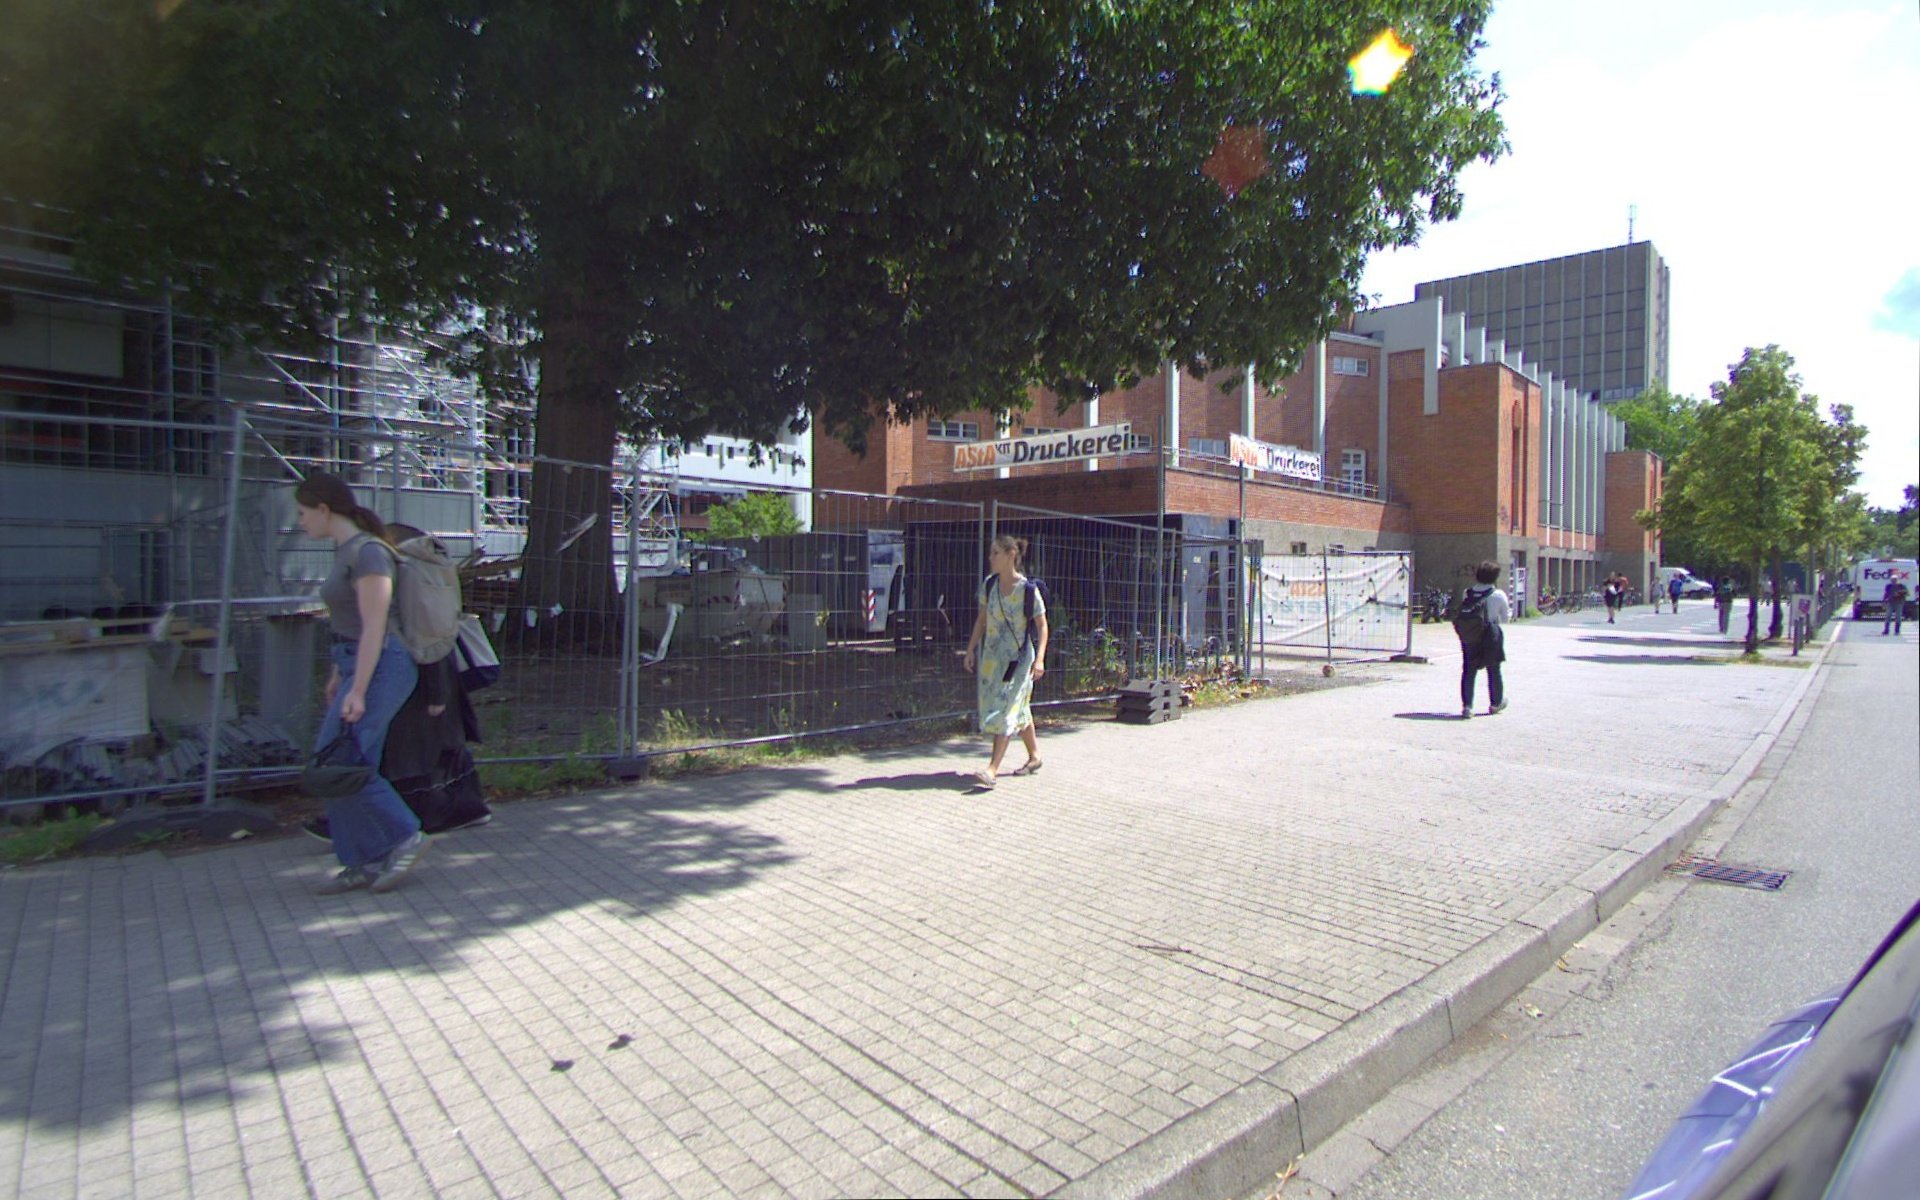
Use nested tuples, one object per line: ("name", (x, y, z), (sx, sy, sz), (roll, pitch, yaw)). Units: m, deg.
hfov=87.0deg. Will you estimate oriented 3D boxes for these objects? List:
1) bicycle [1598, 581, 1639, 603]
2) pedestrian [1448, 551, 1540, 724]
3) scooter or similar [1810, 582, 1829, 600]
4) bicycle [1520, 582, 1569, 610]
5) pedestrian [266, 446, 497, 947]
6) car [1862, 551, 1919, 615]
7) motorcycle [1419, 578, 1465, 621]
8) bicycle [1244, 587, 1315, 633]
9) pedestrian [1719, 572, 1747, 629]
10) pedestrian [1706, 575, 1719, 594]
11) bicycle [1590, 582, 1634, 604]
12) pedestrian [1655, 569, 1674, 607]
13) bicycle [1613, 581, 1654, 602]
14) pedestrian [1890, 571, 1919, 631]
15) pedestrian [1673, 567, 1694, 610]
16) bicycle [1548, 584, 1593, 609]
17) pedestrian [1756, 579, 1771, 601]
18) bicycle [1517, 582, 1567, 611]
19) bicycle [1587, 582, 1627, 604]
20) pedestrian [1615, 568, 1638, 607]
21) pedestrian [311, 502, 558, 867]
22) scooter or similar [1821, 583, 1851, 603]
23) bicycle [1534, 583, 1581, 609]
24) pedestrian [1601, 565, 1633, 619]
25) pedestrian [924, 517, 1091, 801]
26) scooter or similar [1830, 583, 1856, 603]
("bicycle", (35.767, -0.441, 54.975), (1.795, 1.124, 0.429), (2, 1, 42))
("pedestrian", (5.843, 0.373, 11.065), (0.694, 1.803, 0.775), (2, 2, 42))
("scooter or similar", (57.518, -0.620, 67.703), (1.449, 1.194, 0.576), (0, 1, -34))
("bicycle", (24.741, -0.173, 42.860), (1.752, 1.164, 0.510), (2, 1, 42))
("pedestrian", (-2.385, 0.329, 4.153), (0.703, 1.785, 0.852), (-1, 2, -38))
("car", (40.074, -0.723, 43.251), (2.057, 2.575, 5.765), (1, 2, 40))
("motorcycle", (15.741, -0.045, 33.029), (0.696, 1.340, 2.184), (1, 2, 44))
("bicycle", (8.171, 0.233, 25.940), (1.701, 1.123, 0.441), (2, 2, 44))
("pedestrian", (23.560, 0.003, 30.869), (0.640, 1.718, 0.782), (1, 1, 37))
("pedestrian", (68.109, -1.415, 91.605), (0.742, 1.694, 0.840), (1, 1, 20))
("bicycle", (34.553, -0.400, 53.667), (1.910, 1.124, 0.429), (2, 2, 42))
("pedestrian", (32.696, -0.589, 46.989), (0.584, 1.727, 0.987), (2, 3, 41))
("bicycle", (38.542, -0.497, 57.948), (1.928, 1.124, 0.450), (2, 2, 42))
("pedestrian", (29.298, 0.017, 31.172), (0.821, 1.840, 1.129), (1, 1, 37))
("pedestrian", (33.227, -0.548, 46.461), (0.663, 1.913, 1.094), (2, 2, 39))
("bicycle", (27.447, -0.165, 45.542), (1.681, 1.124, 0.429), (2, 1, 42))
("pedestrian", (62.997, -0.783, 79.330), (0.779, 1.696, 1.067), (1, 2, 32))
("bicycle", (24.205, -0.143, 42.112), (1.752, 1.164, 0.429), (2, 1, 42))
("bicycle", (33.489, -0.362, 52.404), (1.681, 1.124, 0.429), (2, 1, 42))
("pedestrian", (31.827, -0.611, 48.325), (0.890, 1.857, 0.664), (0, 1, -39))
("pedestrian", (-2.620, 0.359, 5.065), (0.968, 1.619, 0.669), (-1, 2, -41))
("scooter or similar", (56.671, -0.461, 65.497), (0.564, 1.245, 1.359), (1, 1, -13))
("bicycle", (26.354, -0.183, 44.643), (1.746, 1.124, 0.429), (2, 1, 42))
("pedestrian", (23.387, -0.298, 36.011), (0.842, 1.857, 1.181), (1, 1, 37))
("pedestrian", (0.314, 0.333, 6.560), (0.649, 1.686, 0.890), (2, 2, 43))
("scooter or similar", (57.393, -0.443, 65.808), (0.564, 1.259, 1.146), (1, 1, -13))
